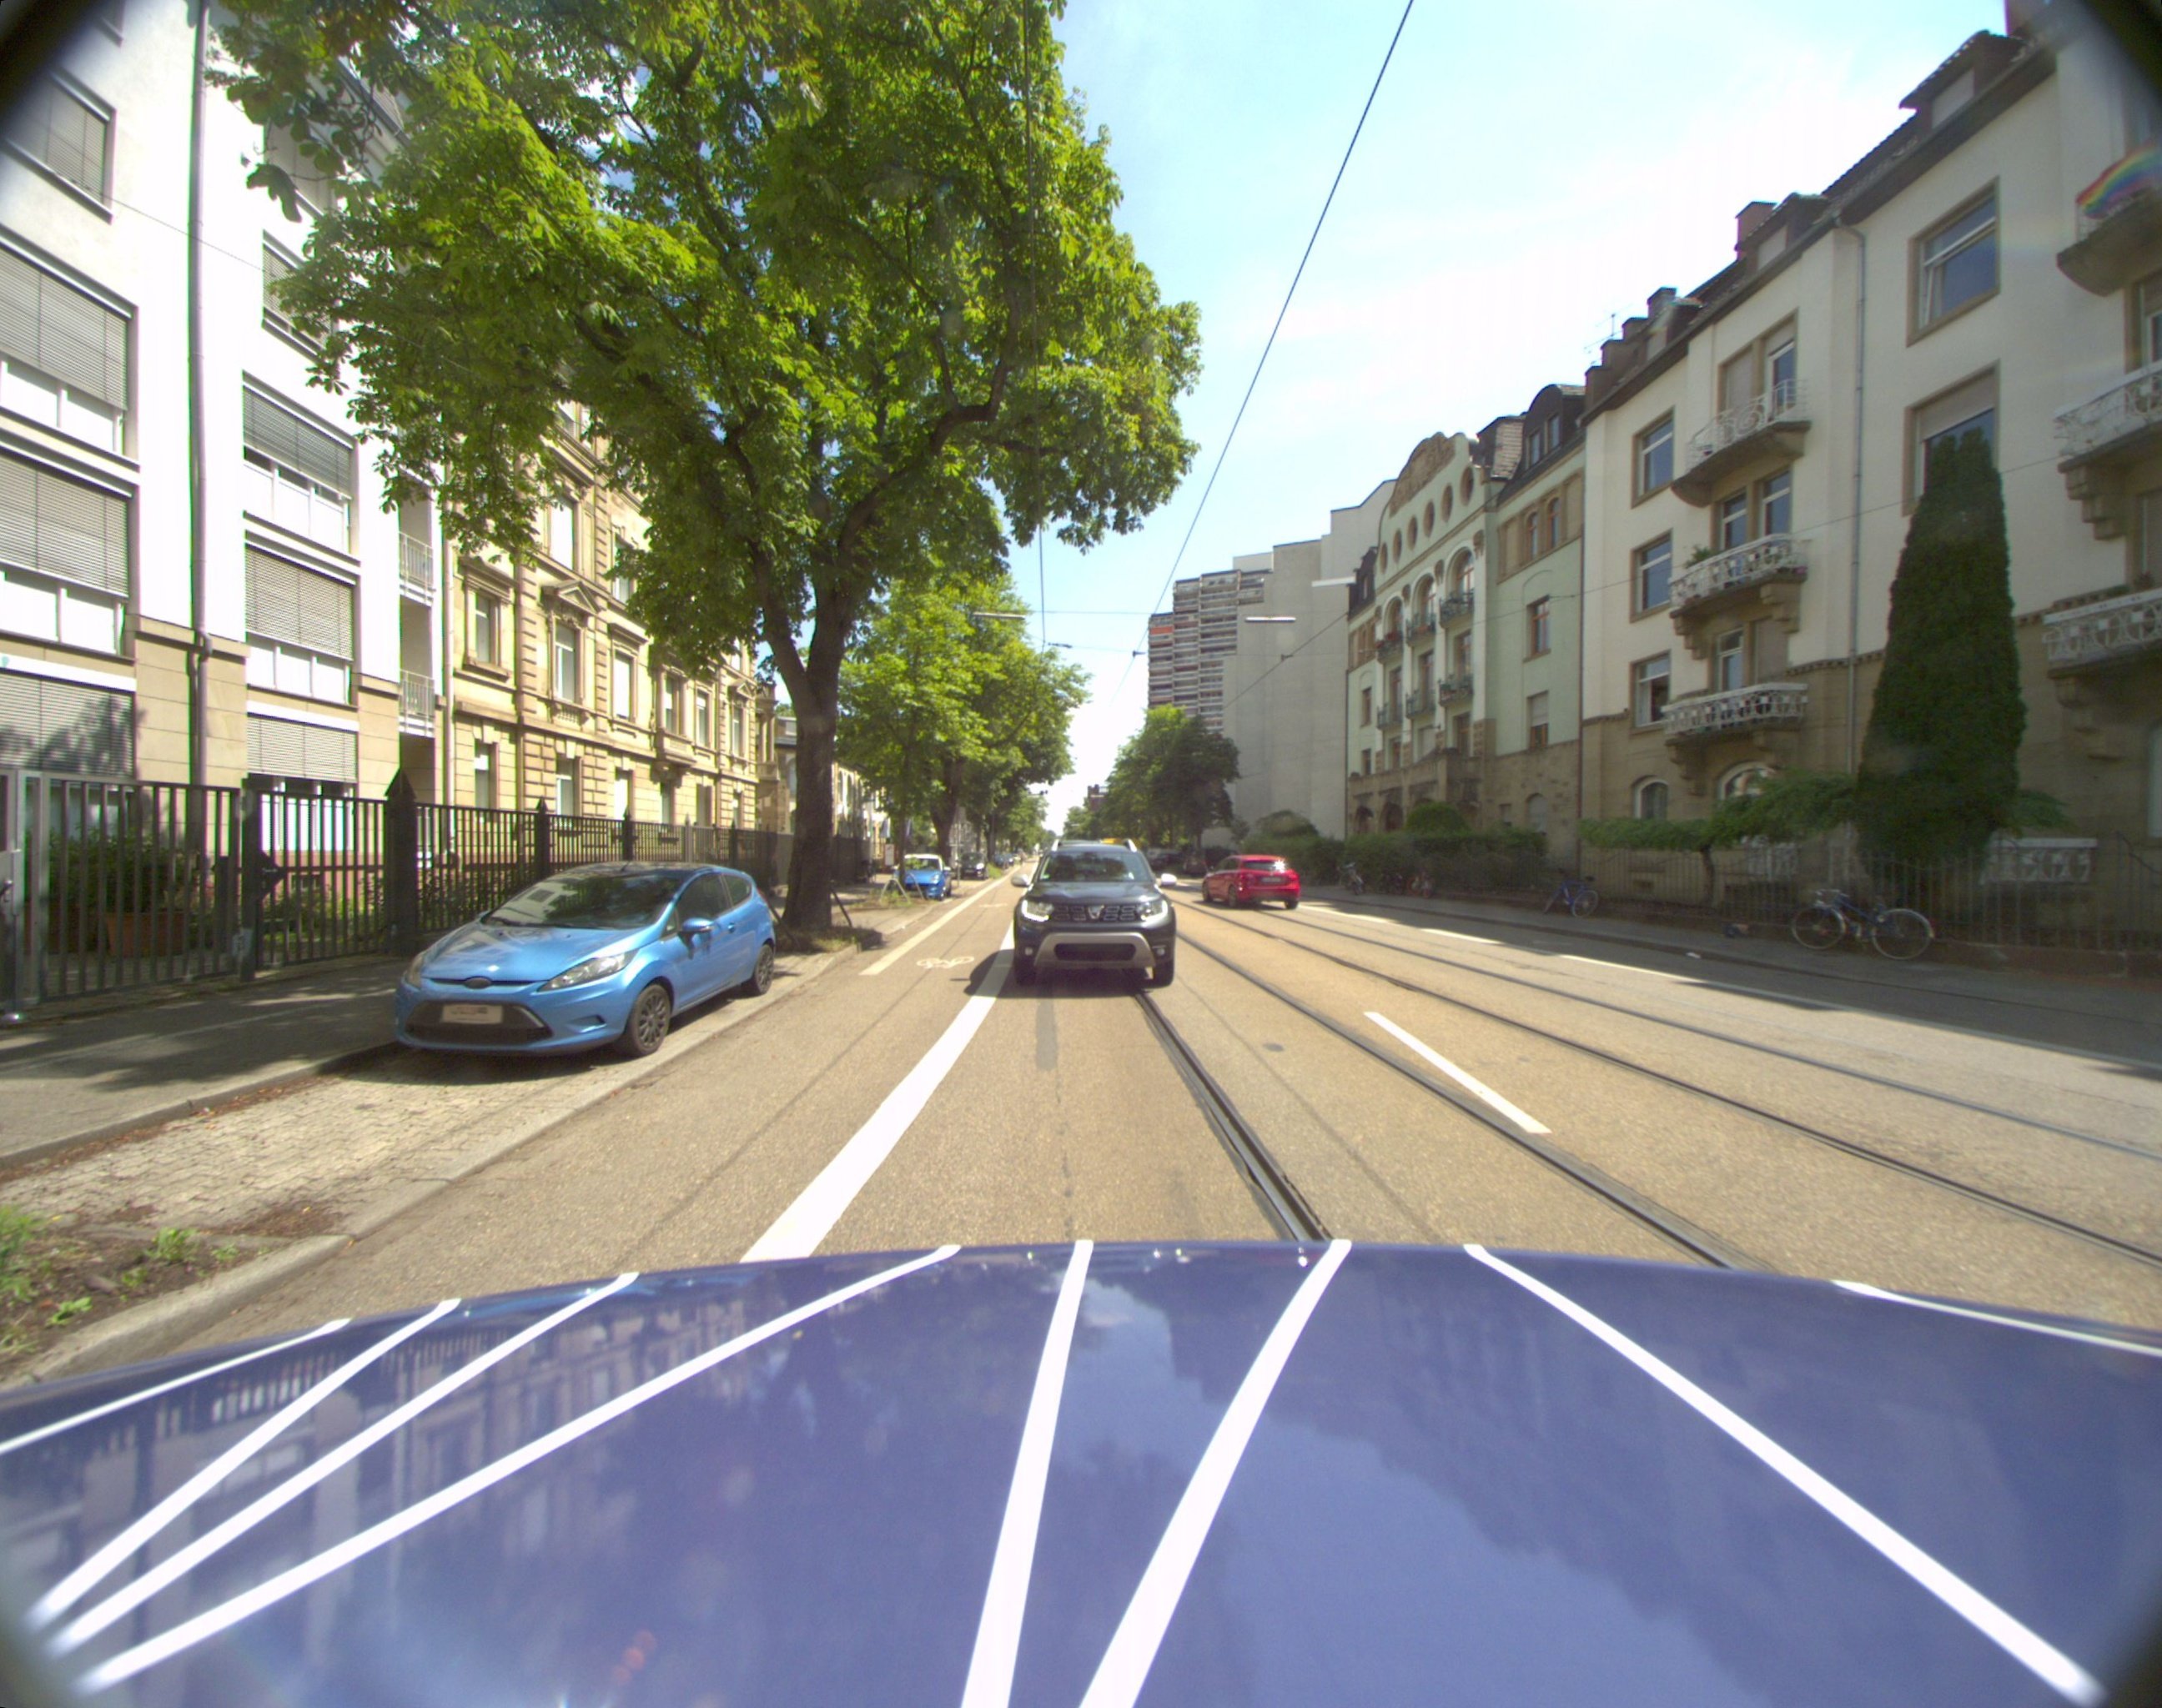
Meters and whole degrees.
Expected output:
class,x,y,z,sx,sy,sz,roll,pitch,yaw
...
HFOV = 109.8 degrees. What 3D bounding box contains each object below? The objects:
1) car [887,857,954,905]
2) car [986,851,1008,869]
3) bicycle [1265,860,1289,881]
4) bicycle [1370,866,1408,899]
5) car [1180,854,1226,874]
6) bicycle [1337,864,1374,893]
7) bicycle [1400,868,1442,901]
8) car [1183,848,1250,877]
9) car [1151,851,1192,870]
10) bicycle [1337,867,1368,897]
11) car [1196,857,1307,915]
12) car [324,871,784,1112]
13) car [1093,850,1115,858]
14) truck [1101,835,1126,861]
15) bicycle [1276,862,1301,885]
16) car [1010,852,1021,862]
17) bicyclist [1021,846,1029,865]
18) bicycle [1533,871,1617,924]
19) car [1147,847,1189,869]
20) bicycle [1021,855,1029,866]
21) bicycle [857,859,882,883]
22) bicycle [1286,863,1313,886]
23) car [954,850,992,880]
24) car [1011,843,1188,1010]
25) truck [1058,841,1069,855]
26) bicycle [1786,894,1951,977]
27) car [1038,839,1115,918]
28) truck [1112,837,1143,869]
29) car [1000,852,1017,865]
class,x,y,z,sx,sy,sz,roll,pitch,yaw
car,-5.223,0.829,25.091,1.696,1.444,3.472,0,0,-4
car,-7.322,0.494,66.198,1.626,1.395,3.821,3,0,-3
bicycle,9.864,0.801,38.303,0.609,0.983,1.707,-4,0,-3
bicycle,10.359,0.943,25.602,0.465,0.993,1.707,-3,1,-3
car,9.307,0.716,57.834,1.721,1.445,3.635,1,0,41
bicycle,10.395,0.904,28.835,0.609,1.026,1.771,-4,0,-3
bicycle,10.626,0.935,23.771,0.414,0.960,1.725,-3,1,-3
car,9.143,0.556,51.233,4.596,1.914,1.956,0,1,-40
car,8.032,0.562,67.280,1.677,1.566,3.692,2,1,45
bicycle,9.508,0.957,26.579,0.608,0.993,1.778,1,1,33
car,4.741,0.828,21.812,1.828,1.405,4.426,2,0,-5
car,-4.186,0.956,6.863,1.682,1.435,3.719,3,0,-4
car,4.716,-0.006,155.962,4.338,1.797,1.994,0,1,-35
truck,5.487,-0.942,126.146,2.672,4.155,10.481,1,0,11
bicycle,9.927,0.925,36.388,0.609,0.983,1.707,-4,0,-3
car,-10.244,0.426,119.260,1.626,1.395,3.998,3,0,-3
bicyclist,-6.017,0.132,81.509,0.773,2.002,0.807,1,1,-5
bicycle,11.033,0.947,17.032,0.609,1.058,1.771,-4,0,-3
car,8.144,0.350,70.758,4.061,2.030,1.597,0,1,-43
bicycle,-6.005,0.688,81.503,0.812,1.089,2.173,0,1,-5
bicycle,-9.475,0.748,34.159,0.609,1.065,1.980,0,0,-1
bicycle,9.927,0.915,34.556,0.609,0.970,1.771,-4,0,-3
car,-6.186,0.598,43.905,1.734,1.606,4.083,2,0,-3
car,0.097,0.719,9.782,1.753,1.641,4.296,-1,0,-3
truck,-4.506,-1.621,197.076,2.792,3.598,8.255,0,0,0
bicycle,11.318,1.129,11.013,0.411,0.955,1.840,-3,2,-3
car,-0.182,0.568,20.254,1.753,1.806,4.307,-2,0,-2
truck,4.294,-0.118,71.364,2.307,2.903,6.514,0,0,-2
car,-8.136,0.510,85.315,1.626,1.395,3.998,3,0,-3
